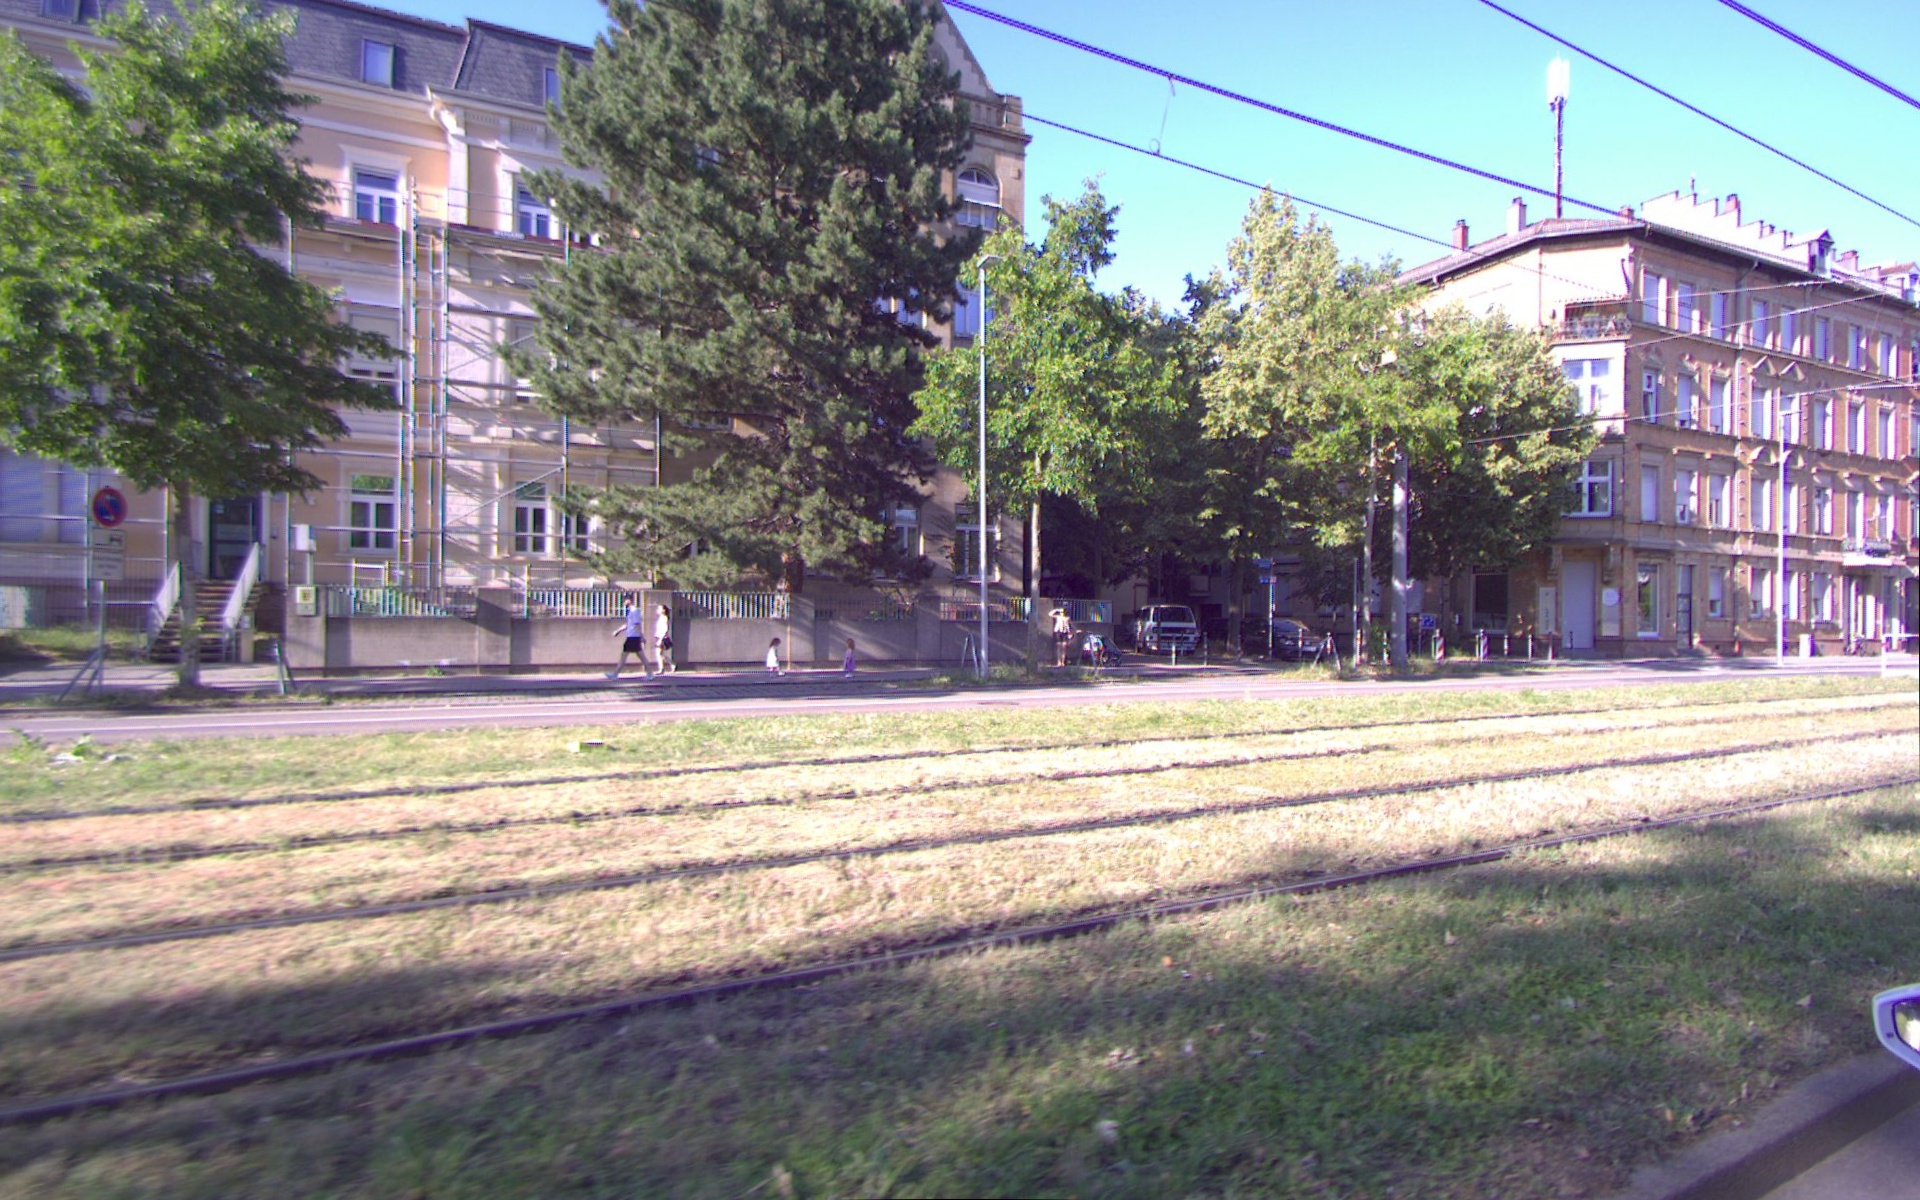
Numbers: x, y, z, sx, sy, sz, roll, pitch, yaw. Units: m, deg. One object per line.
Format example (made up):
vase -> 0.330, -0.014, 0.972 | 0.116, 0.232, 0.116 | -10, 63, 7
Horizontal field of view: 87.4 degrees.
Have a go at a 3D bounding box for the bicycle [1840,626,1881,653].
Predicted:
bicycle -> 40.508, 1.778, 45.186 | 1.727, 1.196, 0.697 | 1, 1, -25

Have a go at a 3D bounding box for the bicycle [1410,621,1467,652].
bicycle -> 19.023, 1.454, 39.931 | 2.209, 1.194, 0.783 | 1, 1, -24

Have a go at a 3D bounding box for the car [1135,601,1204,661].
car -> 7.936, 1.122, 38.462 | 1.960, 2.041, 4.615 | 1, 1, 4

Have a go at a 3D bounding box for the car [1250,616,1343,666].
car -> 11.263, 1.329, 33.958 | 1.960, 1.491, 4.194 | 1, 0, 4

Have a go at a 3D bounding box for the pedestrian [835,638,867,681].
pedestrian -> -2.460, 1.337, 22.682 | 0.576, 0.944, 0.649 | 1, -2, -20

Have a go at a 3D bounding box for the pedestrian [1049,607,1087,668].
pedestrian -> 2.922, 1.010, 27.175 | 0.787, 1.614, 0.616 | 1, 1, -27

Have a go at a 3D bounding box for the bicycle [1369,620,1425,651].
bicycle -> 17.401, 1.413, 39.981 | 2.212, 1.194, 0.782 | 1, 1, -27

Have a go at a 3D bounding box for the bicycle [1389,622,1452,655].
bicycle -> 17.778, 1.479, 38.796 | 2.202, 1.194, 0.785 | 1, 1, -14

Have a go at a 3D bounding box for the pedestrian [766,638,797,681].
pedestrian -> -3.961, 1.306, 22.241 | 0.576, 0.944, 0.649 | 1, -2, -20

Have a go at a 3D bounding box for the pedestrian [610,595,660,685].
pedestrian -> -6.672, 0.822, 20.618 | 0.877, 1.799, 0.648 | 1, -2, -26

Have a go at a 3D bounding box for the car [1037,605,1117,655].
car -> 5.140, 1.237, 43.599 | 2.028, 1.943, 5.006 | 2, 1, 24

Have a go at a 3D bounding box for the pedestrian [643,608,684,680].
pedestrian -> -6.603, 0.979, 22.354 | 0.773, 1.560, 0.648 | 1, -2, -26

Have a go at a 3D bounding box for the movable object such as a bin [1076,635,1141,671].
movable object such as a bin -> 4.022, 1.430, 27.269 | 1.221, 0.876, 1.240 | 1, 1, -27

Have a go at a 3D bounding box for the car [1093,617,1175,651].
car -> 8.734, 1.699, 50.840 | 1.975, 1.491, 4.162 | 1, 0, -27
